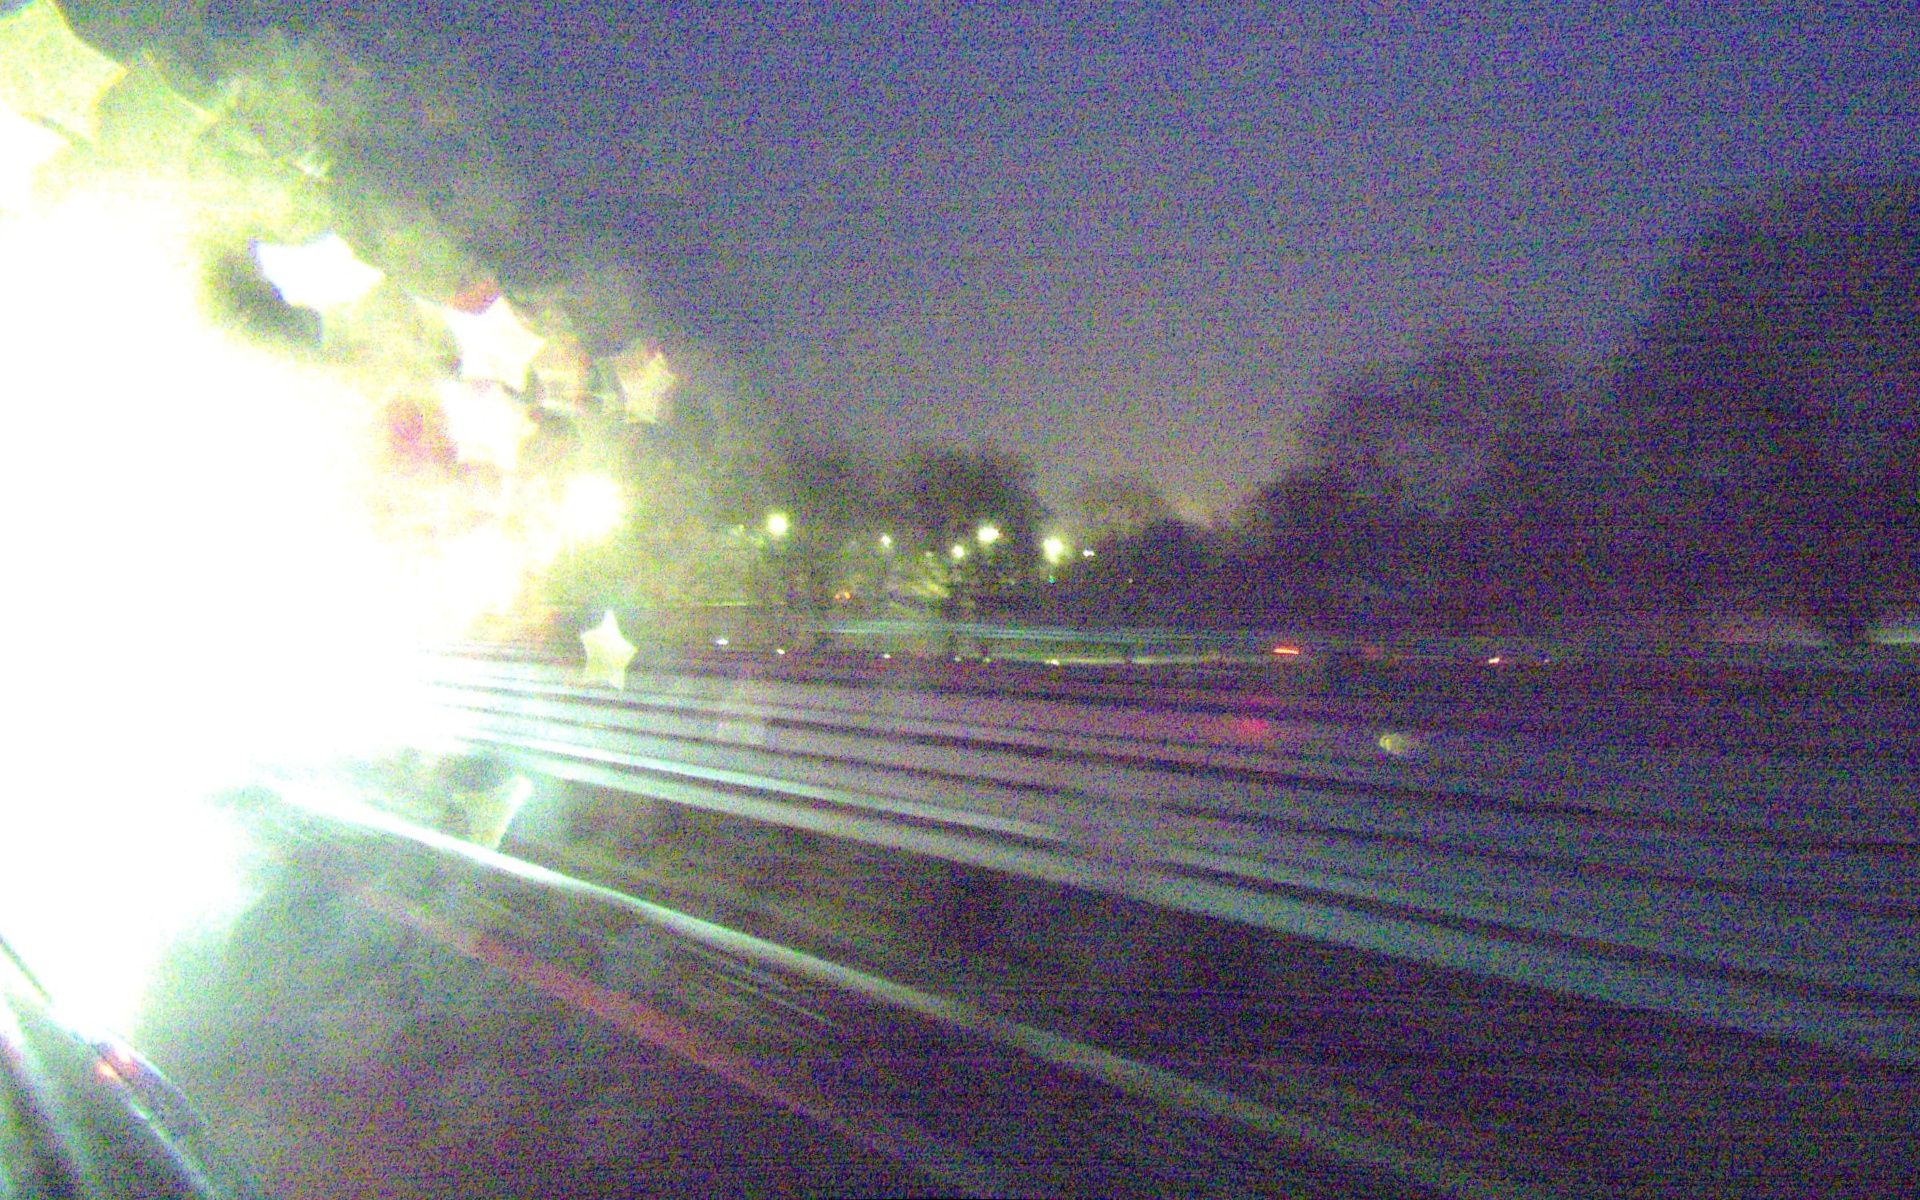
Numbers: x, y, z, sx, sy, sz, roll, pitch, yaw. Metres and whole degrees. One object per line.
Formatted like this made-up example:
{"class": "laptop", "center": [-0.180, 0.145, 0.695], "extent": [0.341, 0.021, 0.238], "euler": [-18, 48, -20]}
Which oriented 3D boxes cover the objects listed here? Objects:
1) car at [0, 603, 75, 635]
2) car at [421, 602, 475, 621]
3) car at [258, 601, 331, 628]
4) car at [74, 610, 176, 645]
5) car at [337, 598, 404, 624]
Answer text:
{"class": "car", "center": [-44.725, 0.914, 47.890], "extent": [1.707, 1.452, 3.971], "euler": [-2, 0, 22]}
{"class": "car", "center": [-43.891, 1.006, 86.823], "extent": [1.707, 1.452, 3.971], "euler": [-3, 0, 22]}
{"class": "car", "center": [-48.277, 1.010, 73.515], "extent": [1.989, 1.807, 3.966], "euler": [-2, 0, 25]}
{"class": "car", "center": [-47.400, 1.524, 57.539], "extent": [1.989, 1.807, 3.966], "euler": [-2, 0, 25]}
{"class": "car", "center": [-44.470, 0.807, 76.402], "extent": [1.989, 1.807, 3.966], "euler": [-2, 0, 25]}
